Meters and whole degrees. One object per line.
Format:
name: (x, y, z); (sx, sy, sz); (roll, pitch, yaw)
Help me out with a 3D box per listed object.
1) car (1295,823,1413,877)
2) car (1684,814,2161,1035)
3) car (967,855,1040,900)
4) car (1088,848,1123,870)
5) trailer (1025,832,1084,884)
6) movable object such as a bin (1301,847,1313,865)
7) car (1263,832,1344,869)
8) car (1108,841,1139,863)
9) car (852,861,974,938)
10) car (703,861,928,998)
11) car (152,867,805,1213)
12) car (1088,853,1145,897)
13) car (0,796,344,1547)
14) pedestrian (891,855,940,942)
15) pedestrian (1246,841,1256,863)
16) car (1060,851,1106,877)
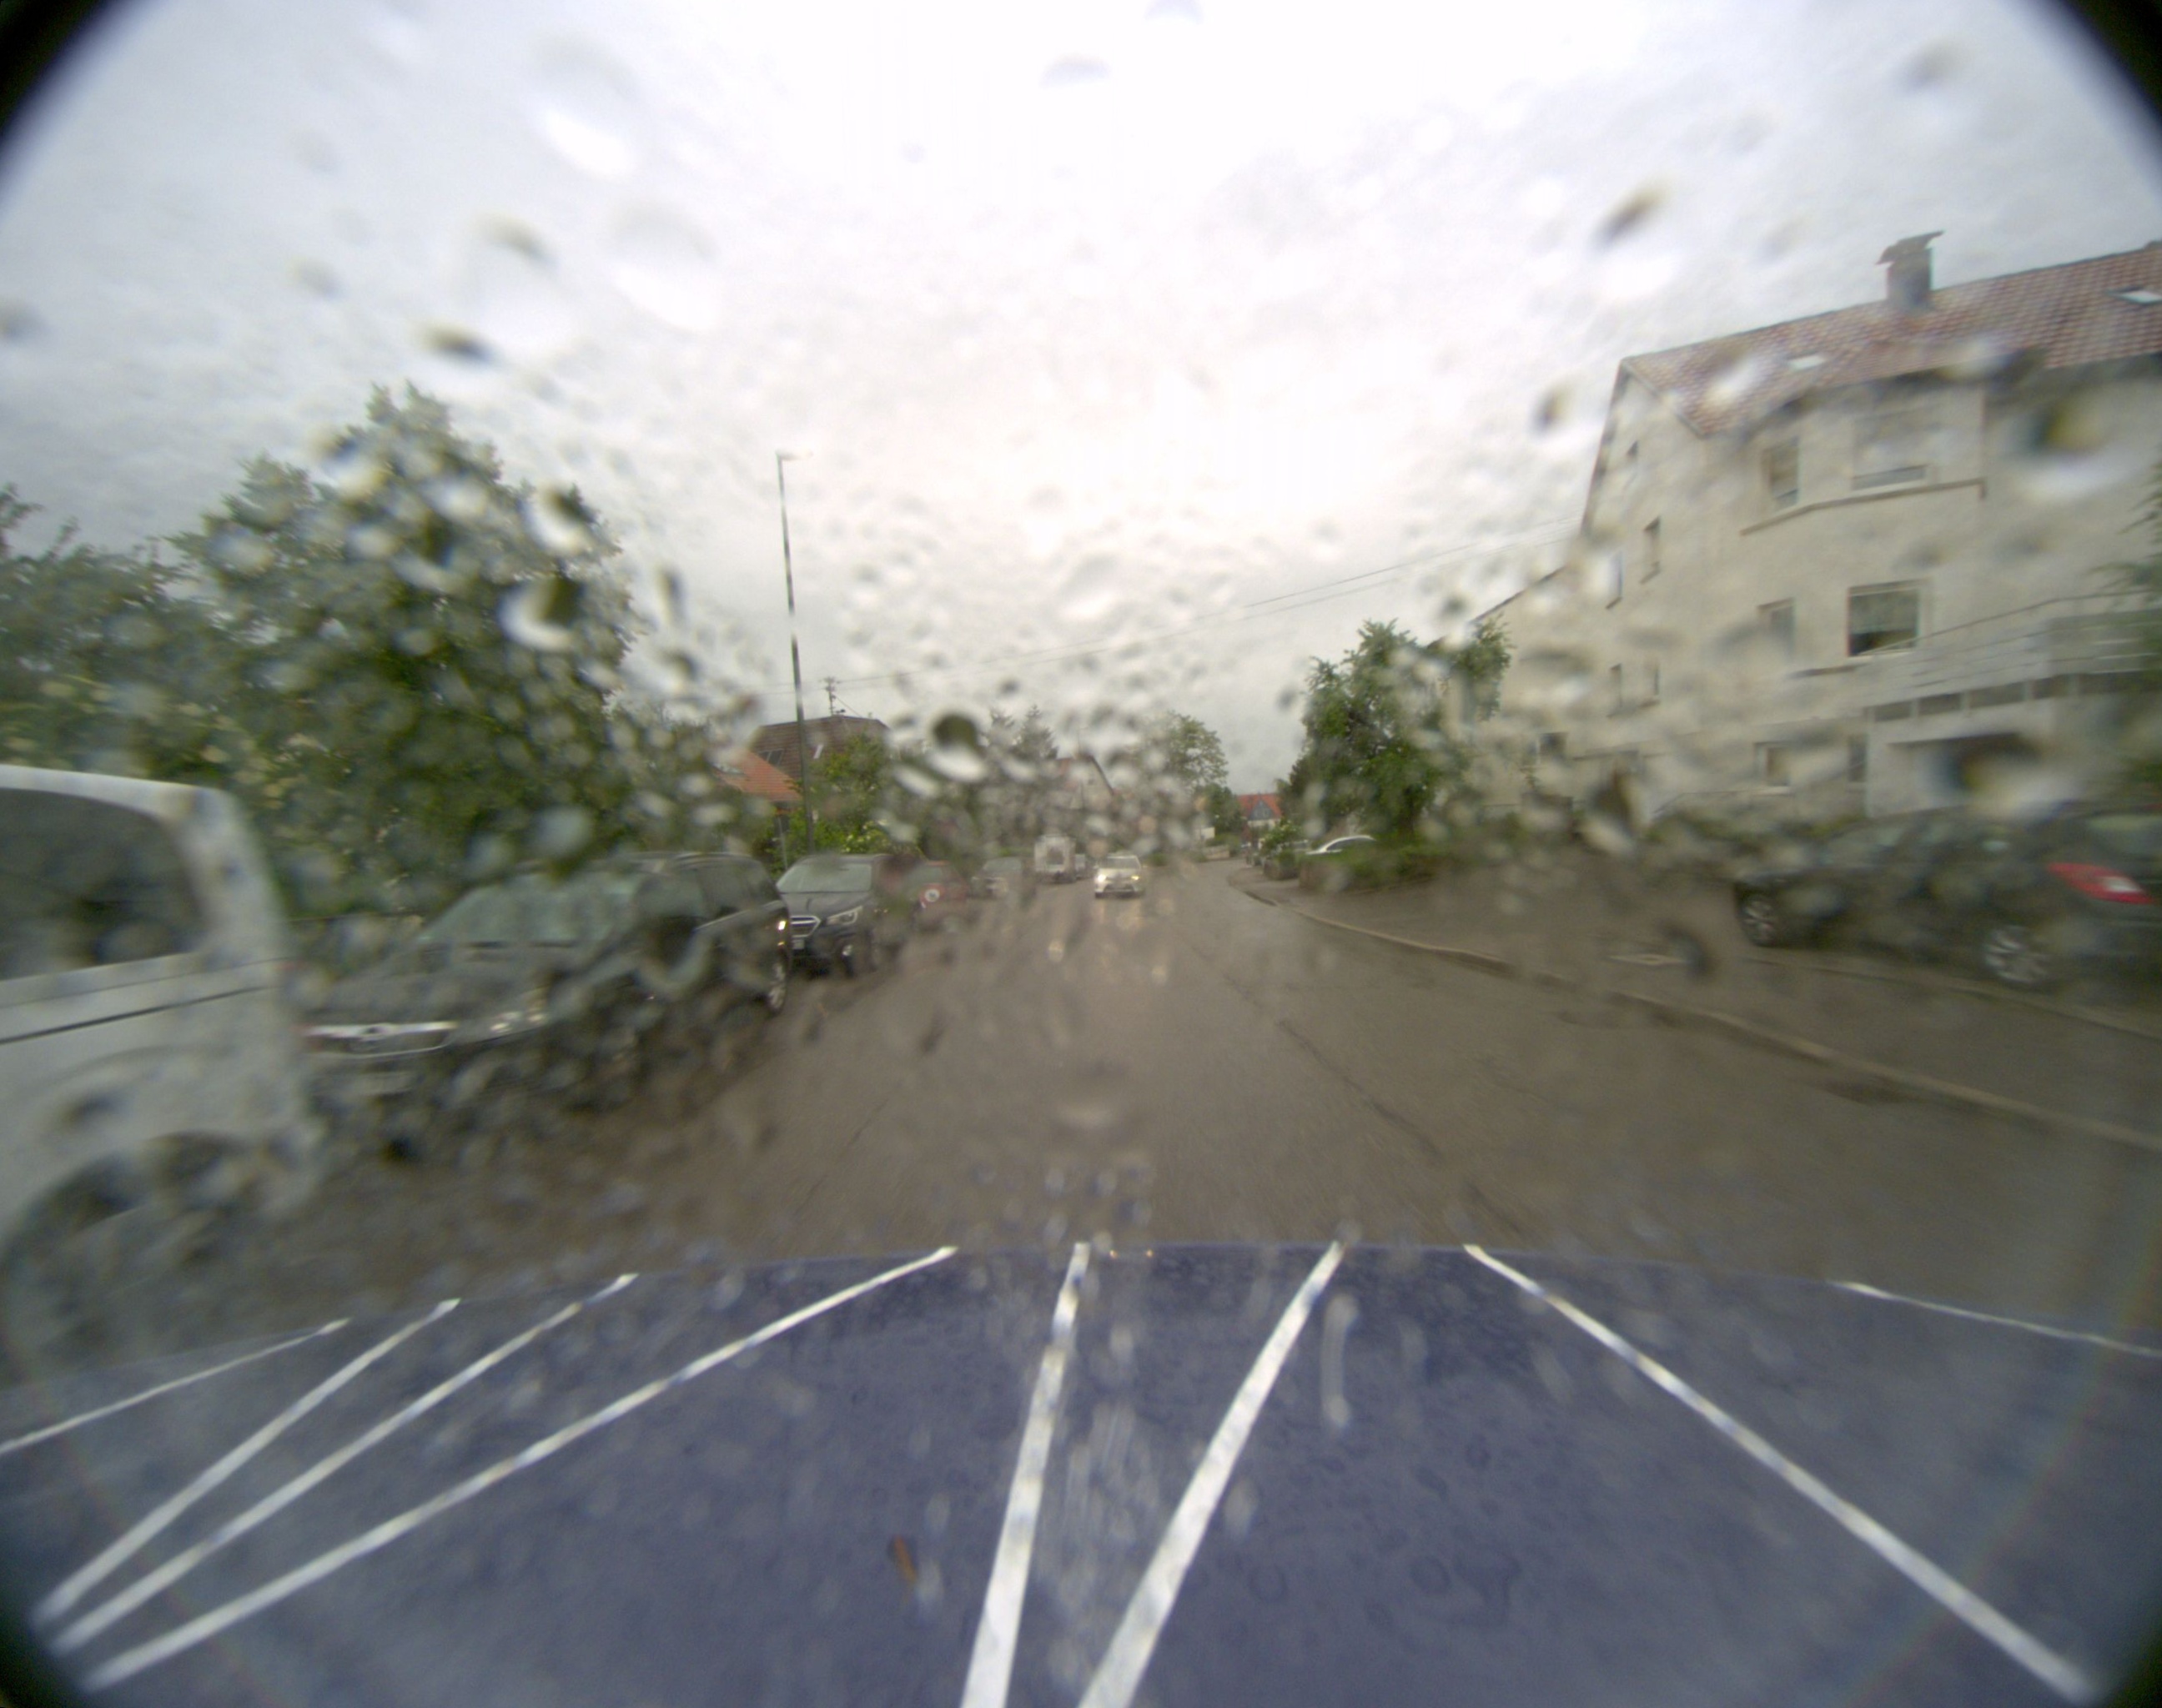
car: (11.183, -0.163, 31.241); (4.258, 1.423, 1.768); (-11, -1, 20)
car: (8.106, 0.421, 7.139); (1.769, 1.368, 4.249); (-5, 1, 7)
car: (-2.796, 0.804, 28.475); (1.797, 1.451, 4.790); (-1, 1, 5)
car: (1.794, 0.349, 54.416); (1.636, 1.448, 3.704); (-1, 1, 16)
trailer: (-1.262, 0.153, 39.412); (1.952, 2.442, 5.437); (-1, 1, 9)
movable object such as a bin: (13.155, 0.123, 44.237); (0.538, 1.013, 0.711); (-6, 0, 12)
car: (13.561, -0.212, 46.556); (4.517, 1.605, 1.934); (-8, 0, 14)
car: (3.539, -0.159, 61.941); (1.832, 1.691, 4.464); (-1, 1, 12)
car: (-3.620, 0.926, 17.060); (1.739, 1.406, 3.852); (-1, 1, 2)
car: (-3.677, 0.936, 11.543); (1.820, 1.498, 4.722); (-1, 1, -1)
car: (-3.752, 0.959, 5.934); (1.649, 1.532, 4.352); (-1, 1, -1)
car: (1.371, 0.718, 27.838); (1.862, 1.370, 4.182); (-2, 1, 5)
car: (-3.562, 0.832, 0.295); (1.854, 1.871, 4.908); (-2, 1, -3)
pedestrian: (-3.172, 0.836, 14.615); (0.718, 1.625, 0.707); (-2, 1, 1)
pedestrian: (13.016, -0.143, 58.131); (0.657, 1.639, 0.733); (-2, 0, 11)
car: (0.204, 0.562, 45.267); (1.750, 1.416, 4.707); (-1, 1, 12)
